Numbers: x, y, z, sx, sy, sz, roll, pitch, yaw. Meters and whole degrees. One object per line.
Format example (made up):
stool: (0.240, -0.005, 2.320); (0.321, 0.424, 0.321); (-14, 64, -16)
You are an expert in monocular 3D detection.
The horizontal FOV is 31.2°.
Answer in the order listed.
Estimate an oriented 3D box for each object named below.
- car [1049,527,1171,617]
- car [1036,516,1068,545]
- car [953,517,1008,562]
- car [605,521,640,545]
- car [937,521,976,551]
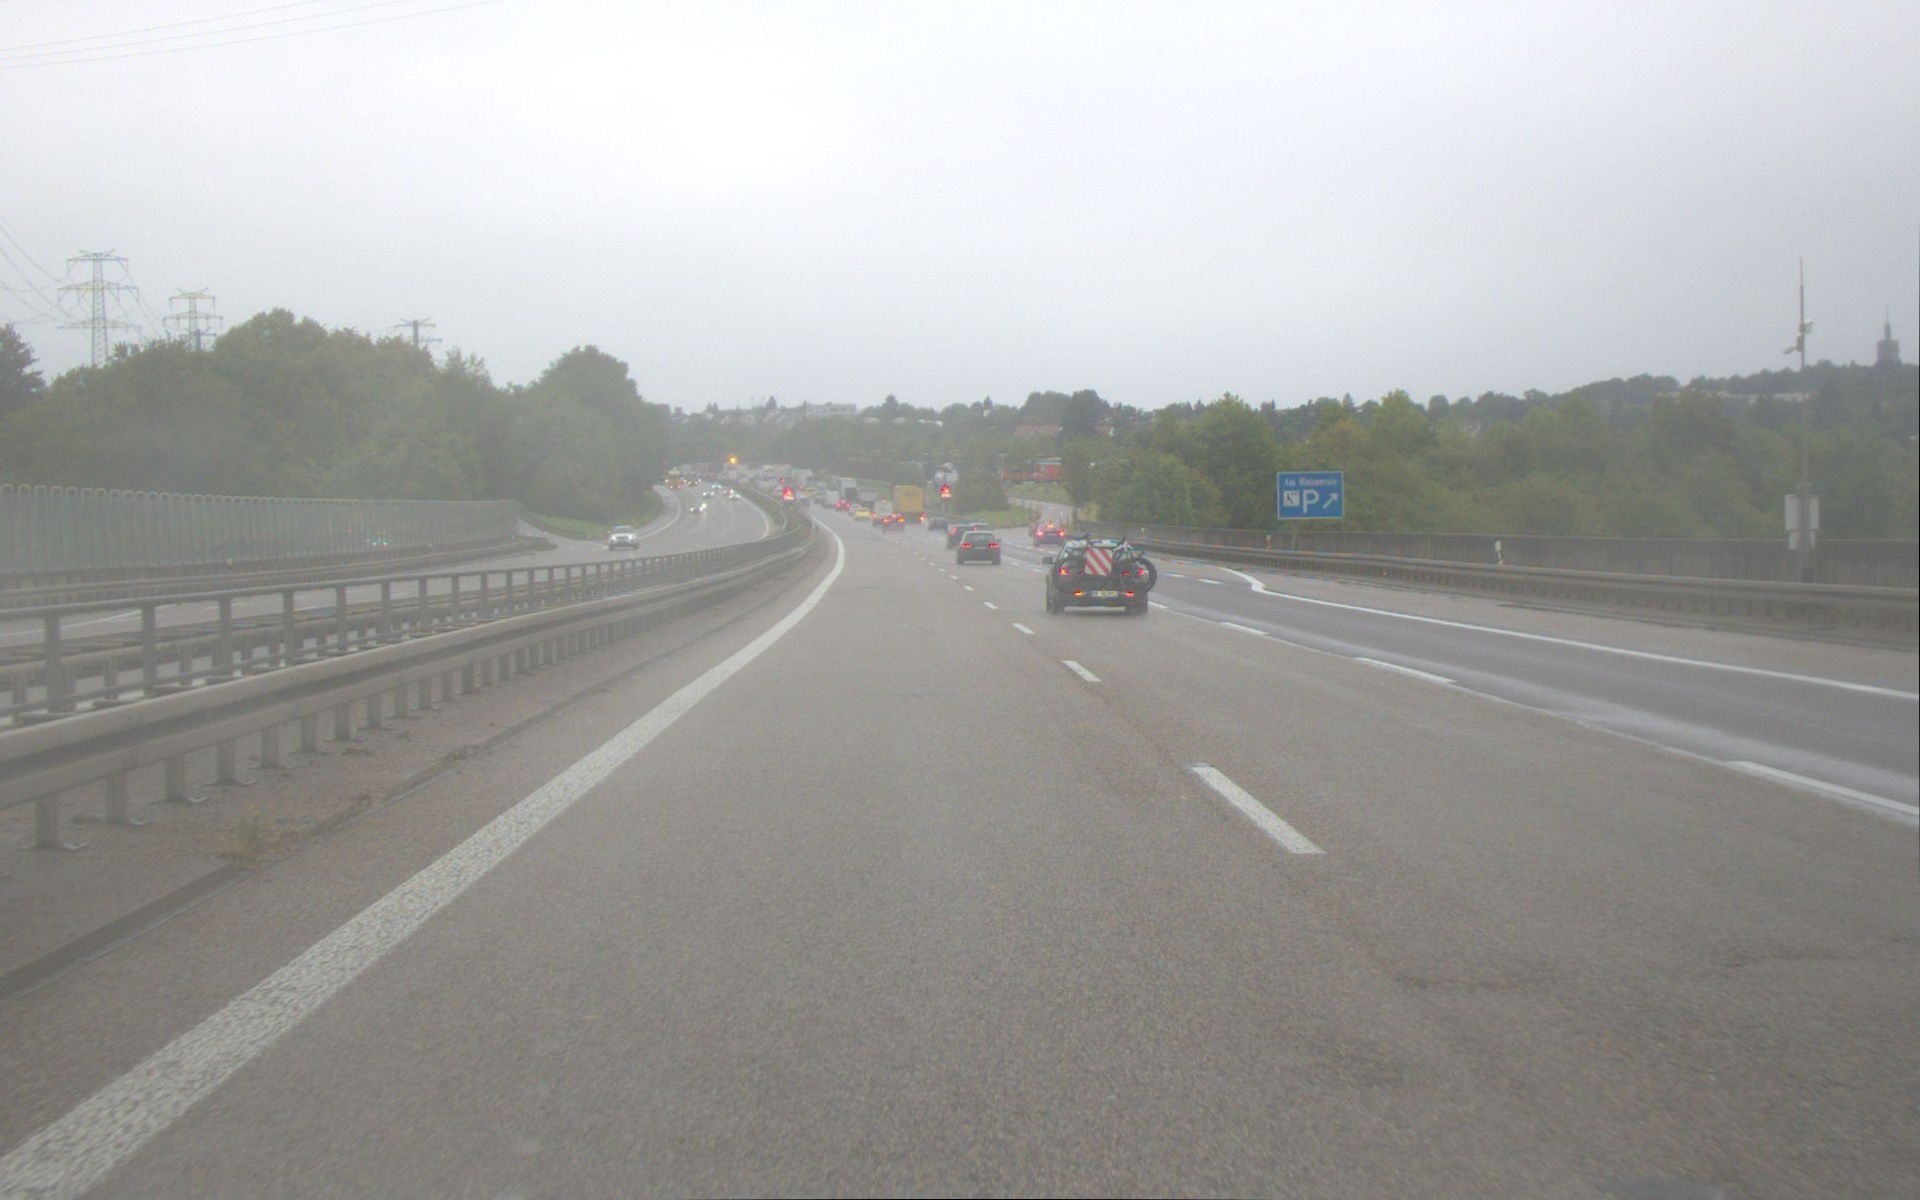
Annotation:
car: (2.865, -0.575, 66.649); (2.057, 1.665, 5.522); (0, 1, -1)
car: (5.815, -4.386, 217.131); (1.922, 1.703, 4.000); (-1, 2, 3)
car: (0.846, -2.576, 145.461); (1.993, 1.755, 4.001); (-1, 2, -4)
car: (-23.153, -4.615, 236.060); (1.993, 1.624, 4.714); (-1, 1, -2)
car: (-0.230, -3.748, 201.666); (1.993, 1.623, 4.001); (-1, 2, -4)
